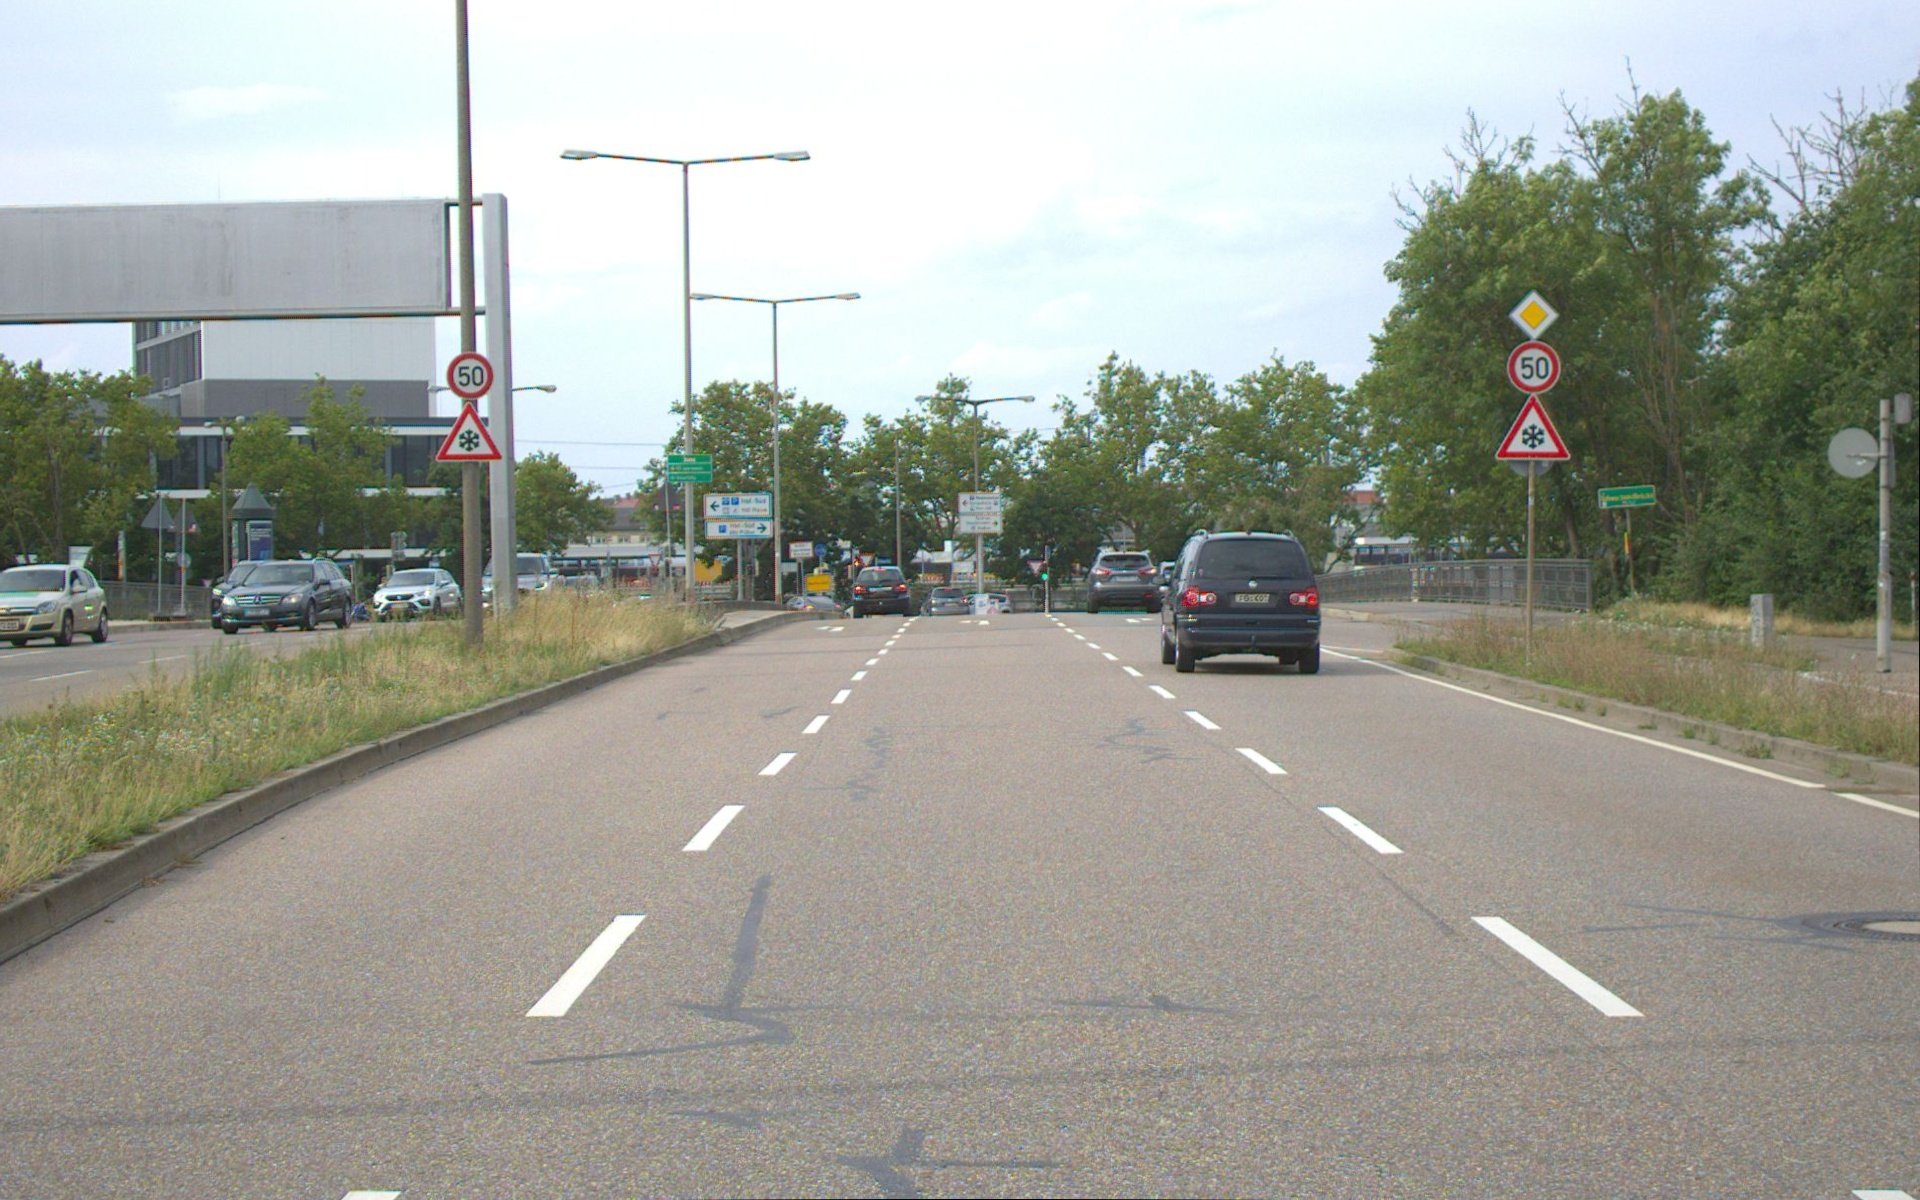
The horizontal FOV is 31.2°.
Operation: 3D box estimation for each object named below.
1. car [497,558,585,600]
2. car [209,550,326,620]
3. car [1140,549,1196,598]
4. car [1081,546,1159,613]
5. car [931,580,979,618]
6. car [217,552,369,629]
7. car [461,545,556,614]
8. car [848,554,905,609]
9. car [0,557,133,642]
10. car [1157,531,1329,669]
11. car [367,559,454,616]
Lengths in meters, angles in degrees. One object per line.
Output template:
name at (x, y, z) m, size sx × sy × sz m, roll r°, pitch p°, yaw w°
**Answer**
car at (-11.657, -0.607, 95.902) m, size 1.993 × 1.064 × 4.000 m, roll 0°, pitch 2°, yaw 0°
car at (-16.401, -0.361, 81.619) m, size 1.793 × 1.519 × 4.594 m, roll -3°, pitch 0°, yaw 0°
car at (6.545, -0.849, 108.398) m, size 1.507 × 1.442 × 3.140 m, roll 0°, pitch 2°, yaw -1°
car at (4.104, -0.547, 88.801) m, size 1.730 × 1.647 × 4.115 m, roll 0°, pitch 1°, yaw -1°
car at (-0.223, -0.053, 143.008) m, size 1.730 × 1.521 × 4.116 m, roll 0°, pitch 1°, yaw -4°
car at (-13.321, -0.203, 68.885) m, size 1.666 × 1.420 × 4.518 m, roll -3°, pitch 0°, yaw 6°
car at (-9.989, -0.464, 76.301) m, size 1.694 × 1.481 × 3.861 m, roll -1°, pitch 1°, yaw -2°
car at (-2.586, -0.589, 106.736) m, size 1.730 × 1.647 × 4.115 m, roll 0°, pitch 1°, yaw -1°
car at (-16.286, -0.017, 61.452) m, size 1.666 × 1.414 × 4.313 m, roll -3°, pitch 0°, yaw 3°
car at (3.497, -0.041, 43.044) m, size 1.730 × 1.647 × 4.115 m, roll 0°, pitch 1°, yaw -1°
car at (-15.775, -0.358, 98.943) m, size 1.793 × 1.519 × 4.188 m, roll -3°, pitch 0°, yaw 0°
